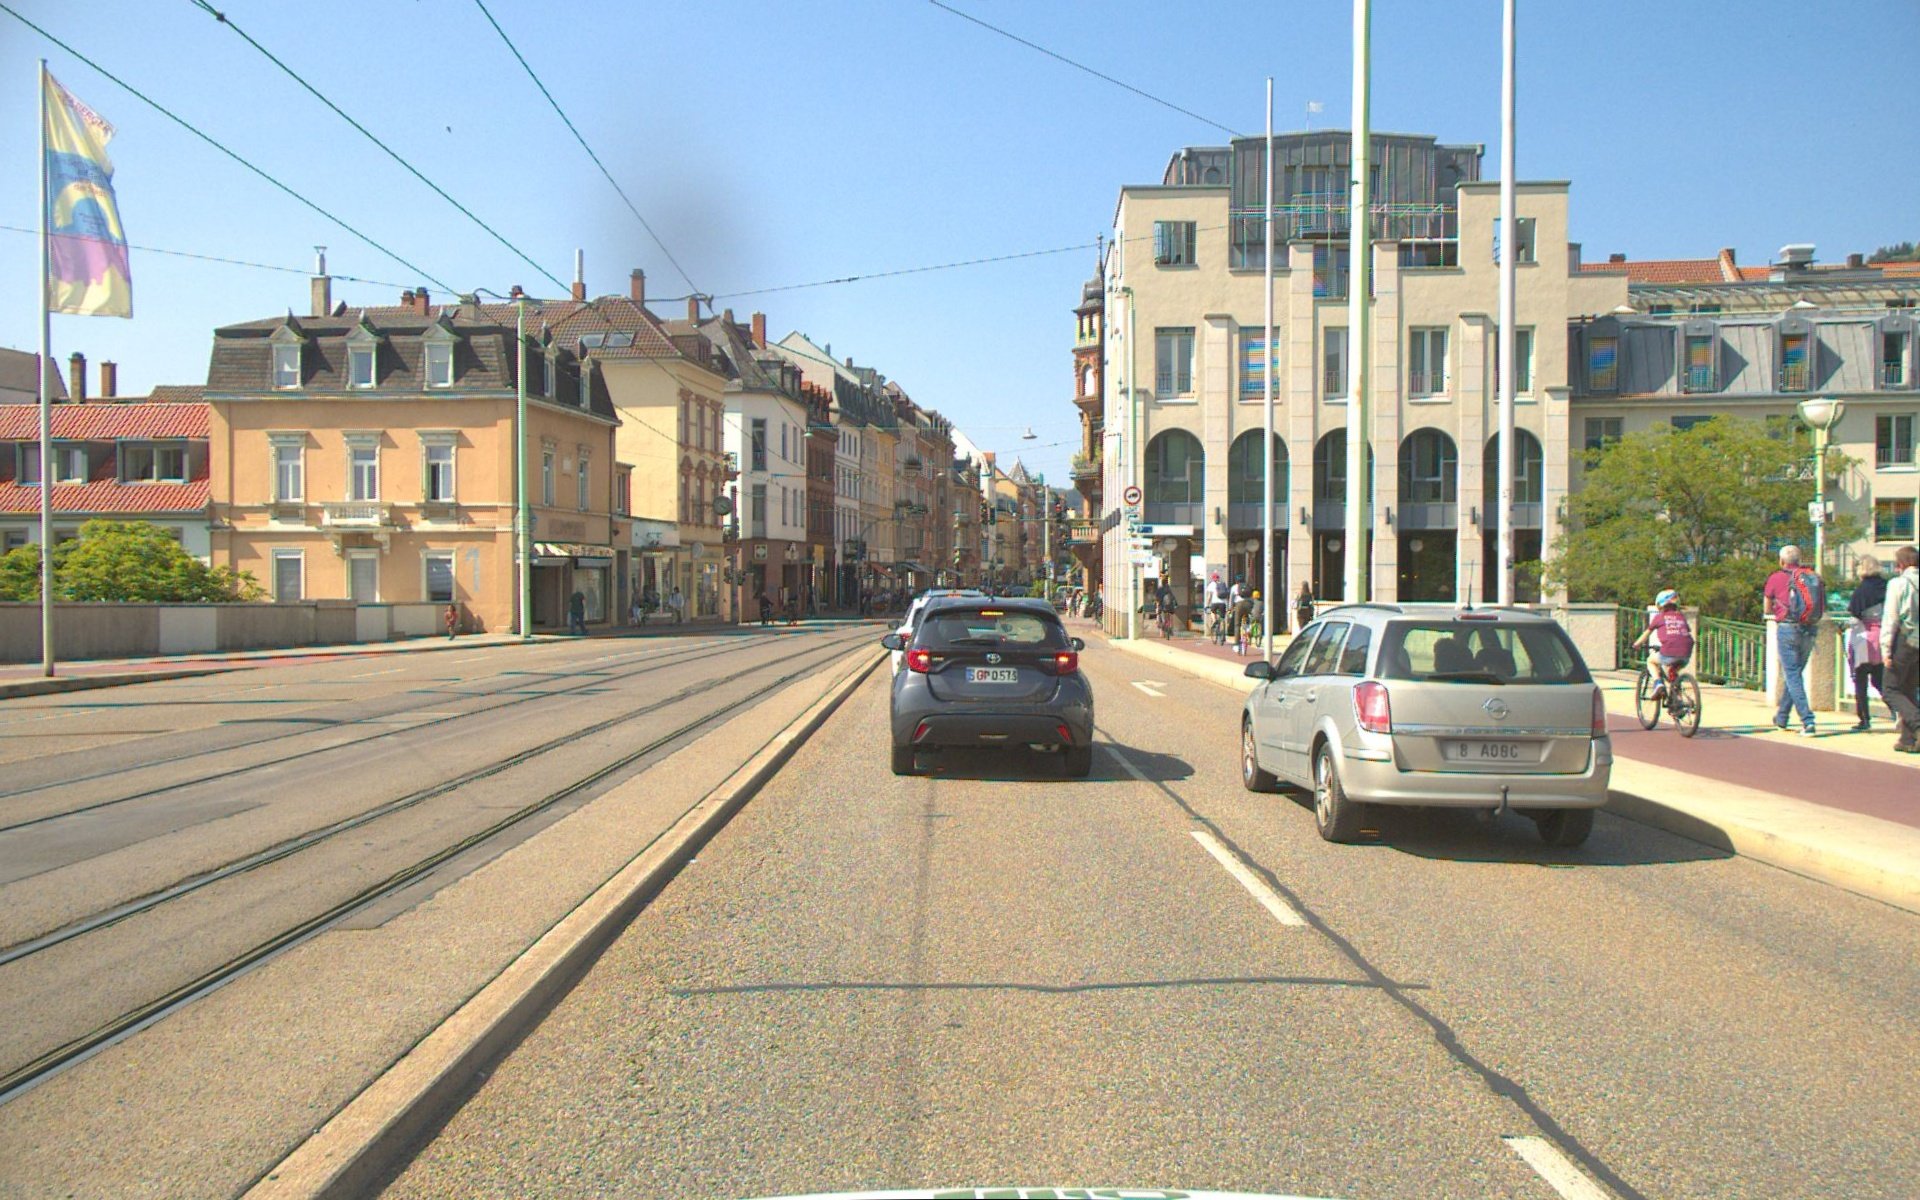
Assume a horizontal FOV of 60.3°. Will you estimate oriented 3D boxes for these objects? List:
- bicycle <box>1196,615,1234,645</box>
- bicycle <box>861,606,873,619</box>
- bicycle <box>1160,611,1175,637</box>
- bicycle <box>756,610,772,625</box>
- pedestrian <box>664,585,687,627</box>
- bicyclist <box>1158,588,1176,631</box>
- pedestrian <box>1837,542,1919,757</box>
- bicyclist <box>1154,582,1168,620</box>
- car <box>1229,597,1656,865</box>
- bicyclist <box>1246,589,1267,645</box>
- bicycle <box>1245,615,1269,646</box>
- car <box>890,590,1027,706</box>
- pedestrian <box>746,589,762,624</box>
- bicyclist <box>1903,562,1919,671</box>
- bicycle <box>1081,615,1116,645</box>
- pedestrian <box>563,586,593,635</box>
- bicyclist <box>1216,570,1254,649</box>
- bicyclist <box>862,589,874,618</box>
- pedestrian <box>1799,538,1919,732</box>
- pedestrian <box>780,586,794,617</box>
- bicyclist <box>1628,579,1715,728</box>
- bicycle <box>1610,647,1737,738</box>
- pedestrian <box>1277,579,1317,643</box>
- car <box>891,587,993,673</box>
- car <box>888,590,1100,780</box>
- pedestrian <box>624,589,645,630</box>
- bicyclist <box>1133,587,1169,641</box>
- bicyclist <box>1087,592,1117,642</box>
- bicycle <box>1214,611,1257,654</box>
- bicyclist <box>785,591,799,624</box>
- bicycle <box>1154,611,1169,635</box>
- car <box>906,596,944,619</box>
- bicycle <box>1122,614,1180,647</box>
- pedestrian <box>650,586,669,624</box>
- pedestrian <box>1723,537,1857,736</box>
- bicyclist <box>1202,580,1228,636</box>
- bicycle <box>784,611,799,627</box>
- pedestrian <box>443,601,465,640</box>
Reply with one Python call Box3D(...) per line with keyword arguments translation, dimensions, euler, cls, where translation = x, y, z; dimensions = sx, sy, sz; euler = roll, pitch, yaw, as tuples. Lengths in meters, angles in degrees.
Box3D(translation=(6.869, 0.814, 44.581), dimensions=(0.413, 0.779, 0.948), euler=(-2, 0, -39), cls="bicycle")
Box3D(translation=(-5.523, 0.759, 98.754), dimensions=(0.607, 0.728, 1.731), euler=(2, 1, 0), cls="bicycle")
Box3D(translation=(6.480, 0.747, 51.636), dimensions=(0.407, 0.779, 1.206), euler=(-2, 0, 6), cls="bicycle")
Box3D(translation=(-10.260, 0.928, 86.458), dimensions=(0.607, 0.728, 1.771), euler=(1, 1, 0), cls="bicycle")
Box3D(translation=(-12.601, 0.259, 73.297), dimensions=(0.721, 1.796, 0.787), euler=(4, 0, 0), cls="pedestrian")
Box3D(translation=(6.463, 0.295, 51.661), dimensions=(0.527, 1.339, 0.672), euler=(-2, 0, 7), cls="bicyclist")
Box3D(translation=(8.118, 0.392, 14.033), dimensions=(0.739, 1.748, 1.073), euler=(-2, 0, -1), cls="pedestrian")
Box3D(translation=(6.753, 0.039, 55.594), dimensions=(0.413, 1.278, 0.443), euler=(-2, 0, 2), cls="bicyclist")
Box3D(translation=(3.118, 0.748, 11.635), dimensions=(1.671, 1.491, 4.325), euler=(1, 0, -1), cls="car")
Box3D(translation=(7.588, 0.438, 42.365), dimensions=(0.413, 1.407, 0.443), euler=(-2, 0, -1), cls="bicyclist")
Box3D(translation=(7.600, 0.776, 42.354), dimensions=(0.408, 0.779, 0.961), euler=(-2, 0, 0), cls="bicycle")
Box3D(translation=(-0.045, 0.651, 24.751), dimensions=(1.858, 1.557, 3.999), euler=(1, 0, -1), cls="car")
Box3D(translation=(-10.818, 0.355, 86.834), dimensions=(0.721, 1.797, 0.787), euler=(0, 1, 0), cls="pedestrian")
Box3D(translation=(15.731, 0.257, 26.578), dimensions=(0.903, 1.725, 1.142), euler=(-1, 0, 26), cls="bicyclist")
Box3D(translation=(7.319, 1.576, 87.492), dimensions=(1.092, 1.444, 3.000), euler=(4, 0, -10), cls="bicycle")
Box3D(translation=(-13.648, 0.369, 59.061), dimensions=(0.746, 1.682, 0.712), euler=(4, 0, 4), cls="pedestrian")
Box3D(translation=(6.134, 0.200, 36.915), dimensions=(0.687, 1.725, 0.924), euler=(-1, 0, 0), cls="bicyclist")
Box3D(translation=(-5.509, 0.221, 98.702), dimensions=(0.614, 1.679, 0.622), euler=(2, 1, 0), cls="bicyclist")
Box3D(translation=(8.775, 0.323, 16.028), dimensions=(0.724, 1.808, 1.015), euler=(-2, 0, -1), cls="pedestrian")
Box3D(translation=(-10.149, 0.073, 97.215), dimensions=(0.721, 1.797, 0.787), euler=(0, 1, -1), cls="pedestrian")
Box3D(translation=(6.952, 0.508, 16.174), dimensions=(0.523, 1.407, 0.669), euler=(-2, 0, -1), cls="bicyclist")
Box3D(translation=(6.963, 0.883, 16.221), dimensions=(0.503, 0.779, 1.660), euler=(-2, 0, 0), cls="bicycle")
Box3D(translation=(8.961, 0.288, 44.030), dimensions=(0.724, 1.642, 1.015), euler=(4, 0, -1), cls="pedestrian")
Box3D(translation=(-0.358, 0.549, 32.901), dimensions=(1.858, 1.557, 3.999), euler=(1, 0, -1), cls="car")
Box3D(translation=(0.256, 0.683, 15.200), dimensions=(1.685, 1.499, 3.657), euler=(1, 0, -1), cls="car")
Box3D(translation=(-13.470, 0.389, 68.494), dimensions=(0.636, 1.629, 0.566), euler=(4, 2, 0), cls="pedestrian")
Box3D(translation=(9.570, 0.702, 82.934), dimensions=(1.219, 2.572, 1.090), euler=(4, 0, -39), cls="bicyclist")
Box3D(translation=(7.480, 0.882, 87.298), dimensions=(1.206, 2.573, 1.102), euler=(3, 0, -10), cls="bicyclist")
Box3D(translation=(6.144, 0.720, 36.943), dimensions=(0.689, 0.898, 1.525), euler=(-1, 0, 0), cls="bicycle")
Box3D(translation=(-8.627, 0.377, 84.935), dimensions=(0.614, 1.679, 0.622), euler=(2, 1, 0), cls="bicyclist")
Box3D(translation=(6.777, 0.765, 55.633), dimensions=(0.407, 0.779, 0.962), euler=(-2, 0, 3), cls="bicycle")
Box3D(translation=(-2.289, 0.514, 109.393), dimensions=(1.694, 1.486, 4.377), euler=(0, 0, 9), cls="car")
Box3D(translation=(9.553, 1.516, 82.962), dimensions=(1.104, 1.444, 2.967), euler=(4, 0, -37), cls="bicycle")
Box3D(translation=(-13.595, 0.223, 74.761), dimensions=(0.636, 1.629, 0.566), euler=(4, 2, 0), cls="pedestrian")
Box3D(translation=(7.970, 0.337, 15.919), dimensions=(0.724, 1.833, 1.015), euler=(-2, 0, -1), cls="pedestrian")
Box3D(translation=(6.868, 0.223, 44.574), dimensions=(0.480, 1.492, 0.437), euler=(-2, 0, -39), cls="bicyclist")
Box3D(translation=(-8.654, 0.975, 84.912), dimensions=(0.607, 0.728, 1.771), euler=(2, 1, 0), cls="bicycle")
Box3D(translation=(-15.650, 0.625, 51.143), dimensions=(0.403, 1.166, 0.545), euler=(4, 0, 5), cls="pedestrian")
